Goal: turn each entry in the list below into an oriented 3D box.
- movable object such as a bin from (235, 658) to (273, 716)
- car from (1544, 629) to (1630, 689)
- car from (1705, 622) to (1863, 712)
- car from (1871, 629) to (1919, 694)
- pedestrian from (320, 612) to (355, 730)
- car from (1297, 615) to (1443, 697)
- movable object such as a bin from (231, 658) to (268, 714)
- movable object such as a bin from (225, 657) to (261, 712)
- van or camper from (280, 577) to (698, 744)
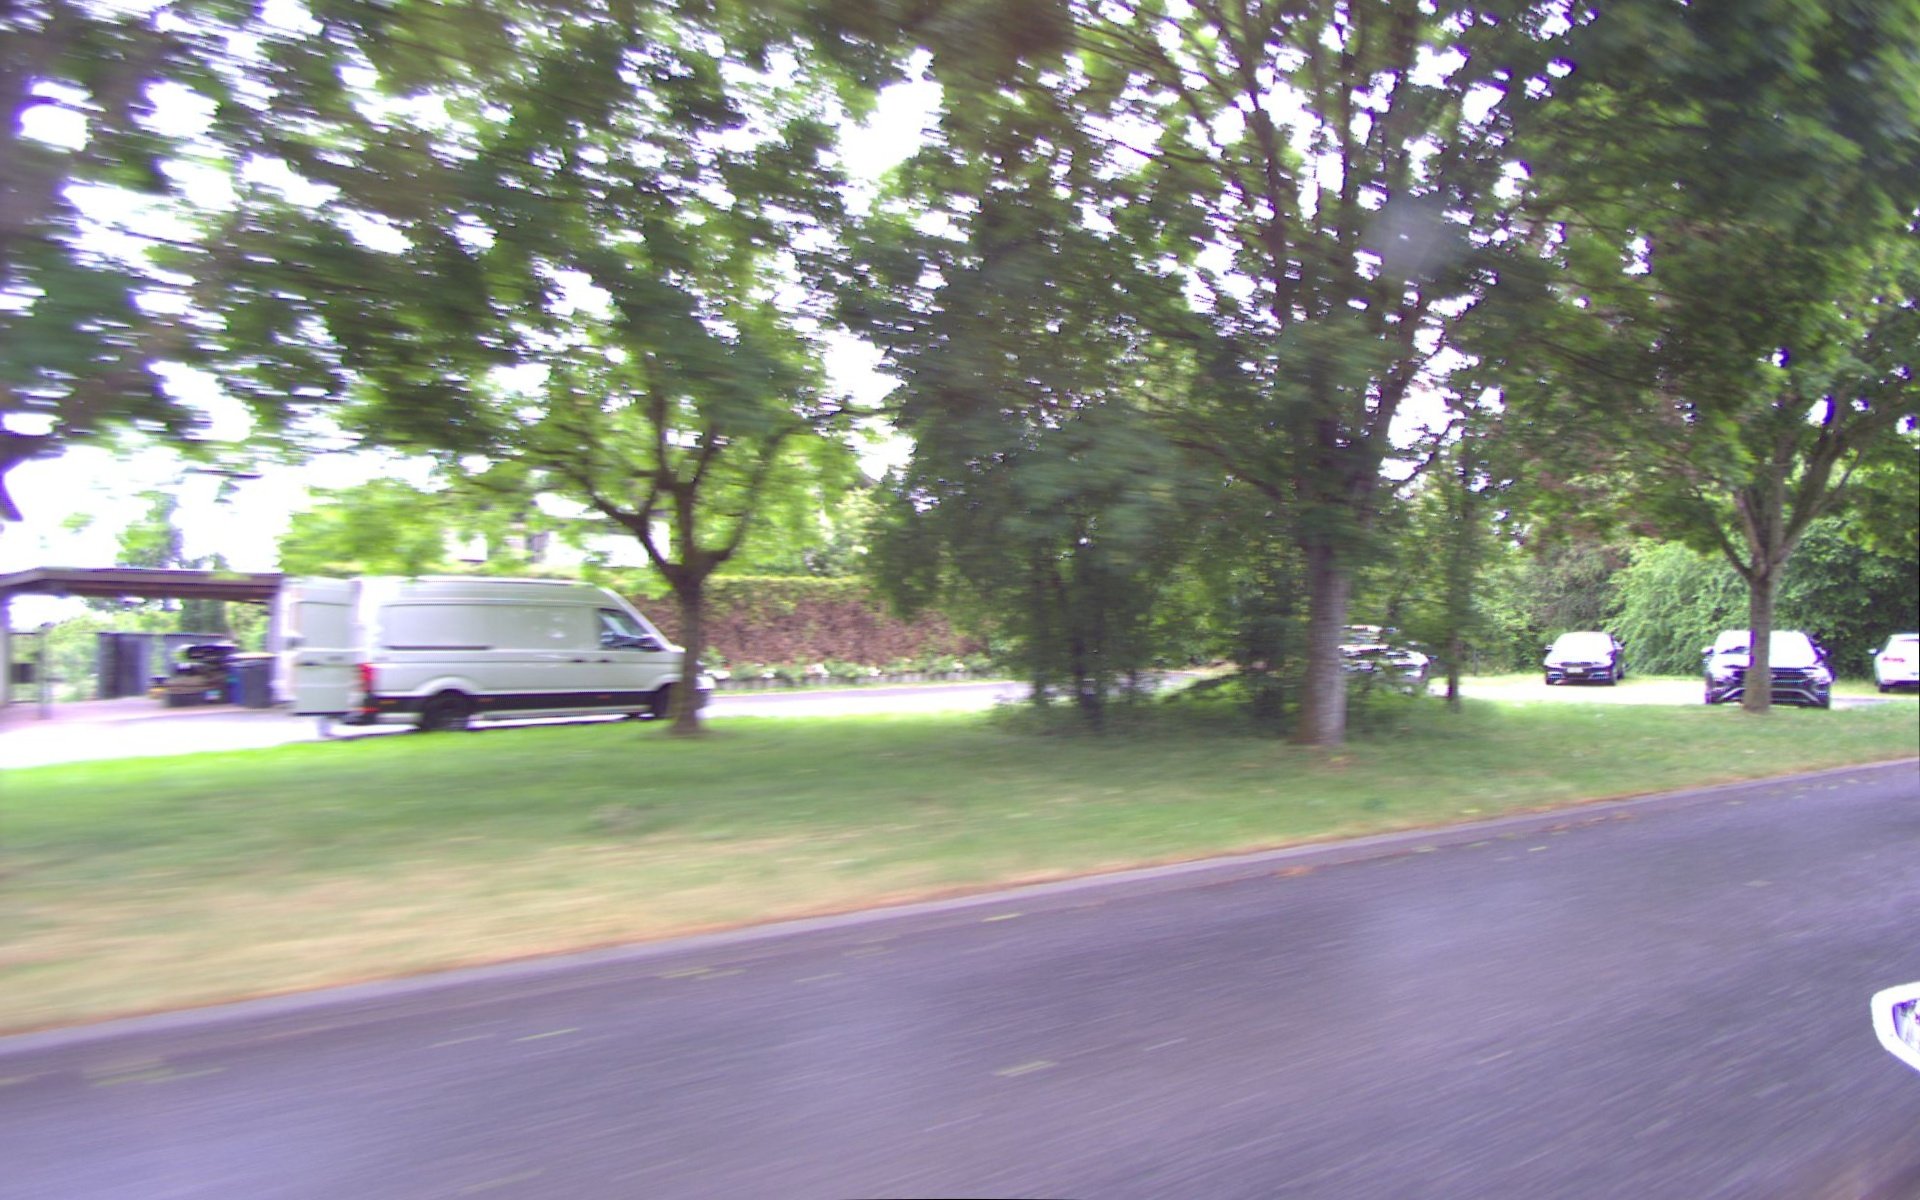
[{"bbox_3d":[-13.892,1.703,19.754,0.545,1.072,0.650,-2,0,-40],"label":"movable object such as a bin"},{"bbox_3d":[19.265,1.742,30.764,1.838,1.529,4.589,-2,0,37],"label":"car"},{"bbox_3d":[15.960,1.220,19.373,4.220,1.534,1.870,2,-2,-44],"label":"car"},{"bbox_3d":[24.935,1.542,26.073,1.860,1.449,4.193,-2,-1,42],"label":"car"},{"bbox_3d":[-9.726,1.101,15.687,0.397,1.806,0.480,1,-2,-38],"label":"pedestrian"},{"bbox_3d":[10.041,1.390,24.395,1.881,1.793,4.876,-2,-5,40],"label":"car"},{"bbox_3d":[-14.350,1.723,20.294,0.545,1.072,0.702,-2,0,-40],"label":"movable object such as a bin"},{"bbox_3d":[-14.874,1.733,20.821,0.545,1.072,0.650,-2,0,-40],"label":"movable object such as a bin"},{"bbox_3d":[-7.732,0.954,16.985,6.101,2.366,2.073,2,-3,-39],"label":"van or camper"}]
